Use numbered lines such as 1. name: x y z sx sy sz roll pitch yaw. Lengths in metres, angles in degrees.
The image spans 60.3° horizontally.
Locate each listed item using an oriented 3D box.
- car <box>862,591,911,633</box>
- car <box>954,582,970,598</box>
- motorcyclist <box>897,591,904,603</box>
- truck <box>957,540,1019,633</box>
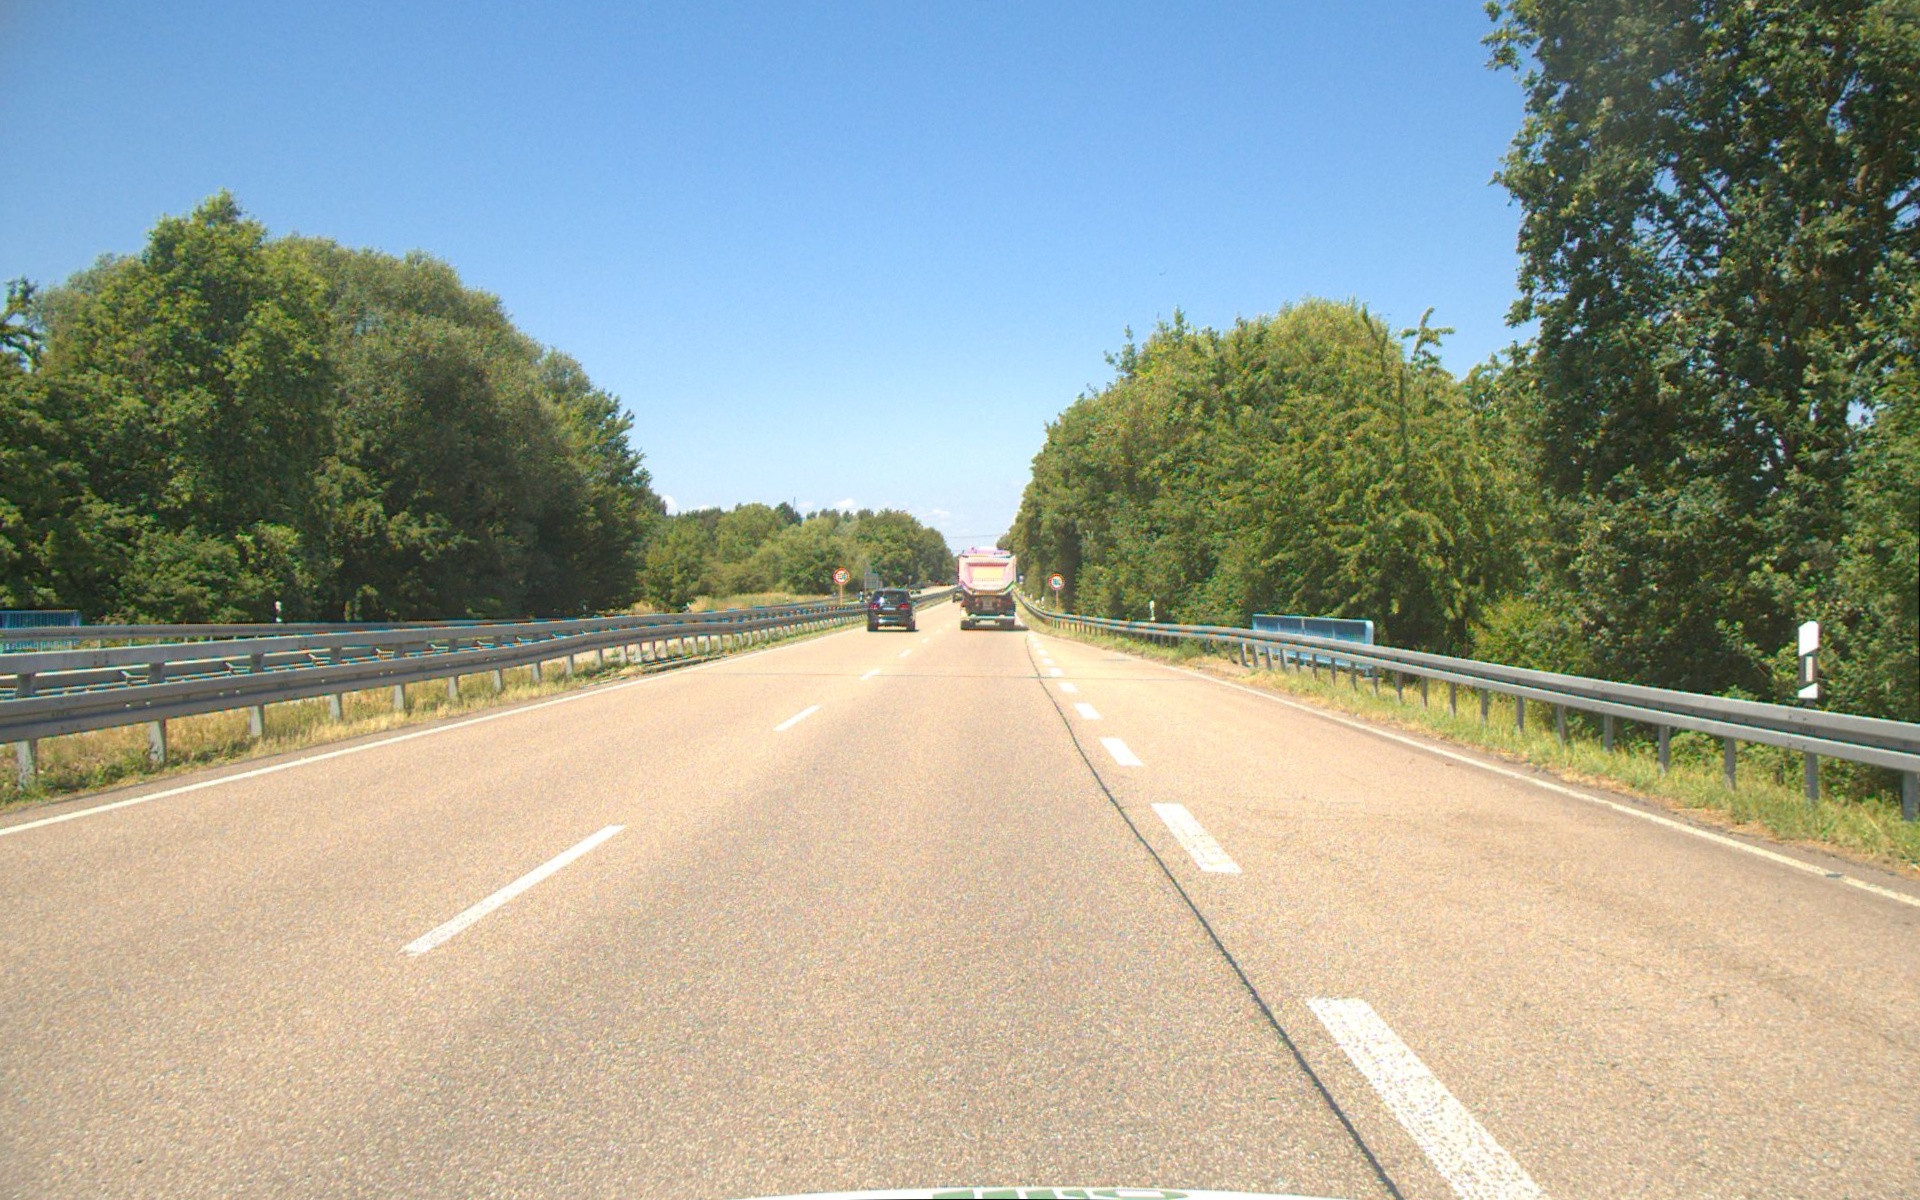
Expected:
1. car: -3.076 0.507 69.635 1.819 1.700 4.000 0 -1 0
2. car: 0.220 -1.085 185.901 1.819 1.748 4.000 0 -1 0
3. motorcyclist: -8.214 -0.362 229.211 0.925 1.645 0.809 -1 0 0
4. truck: 1.282 -0.658 77.428 2.664 3.998 12.371 0 1 1
